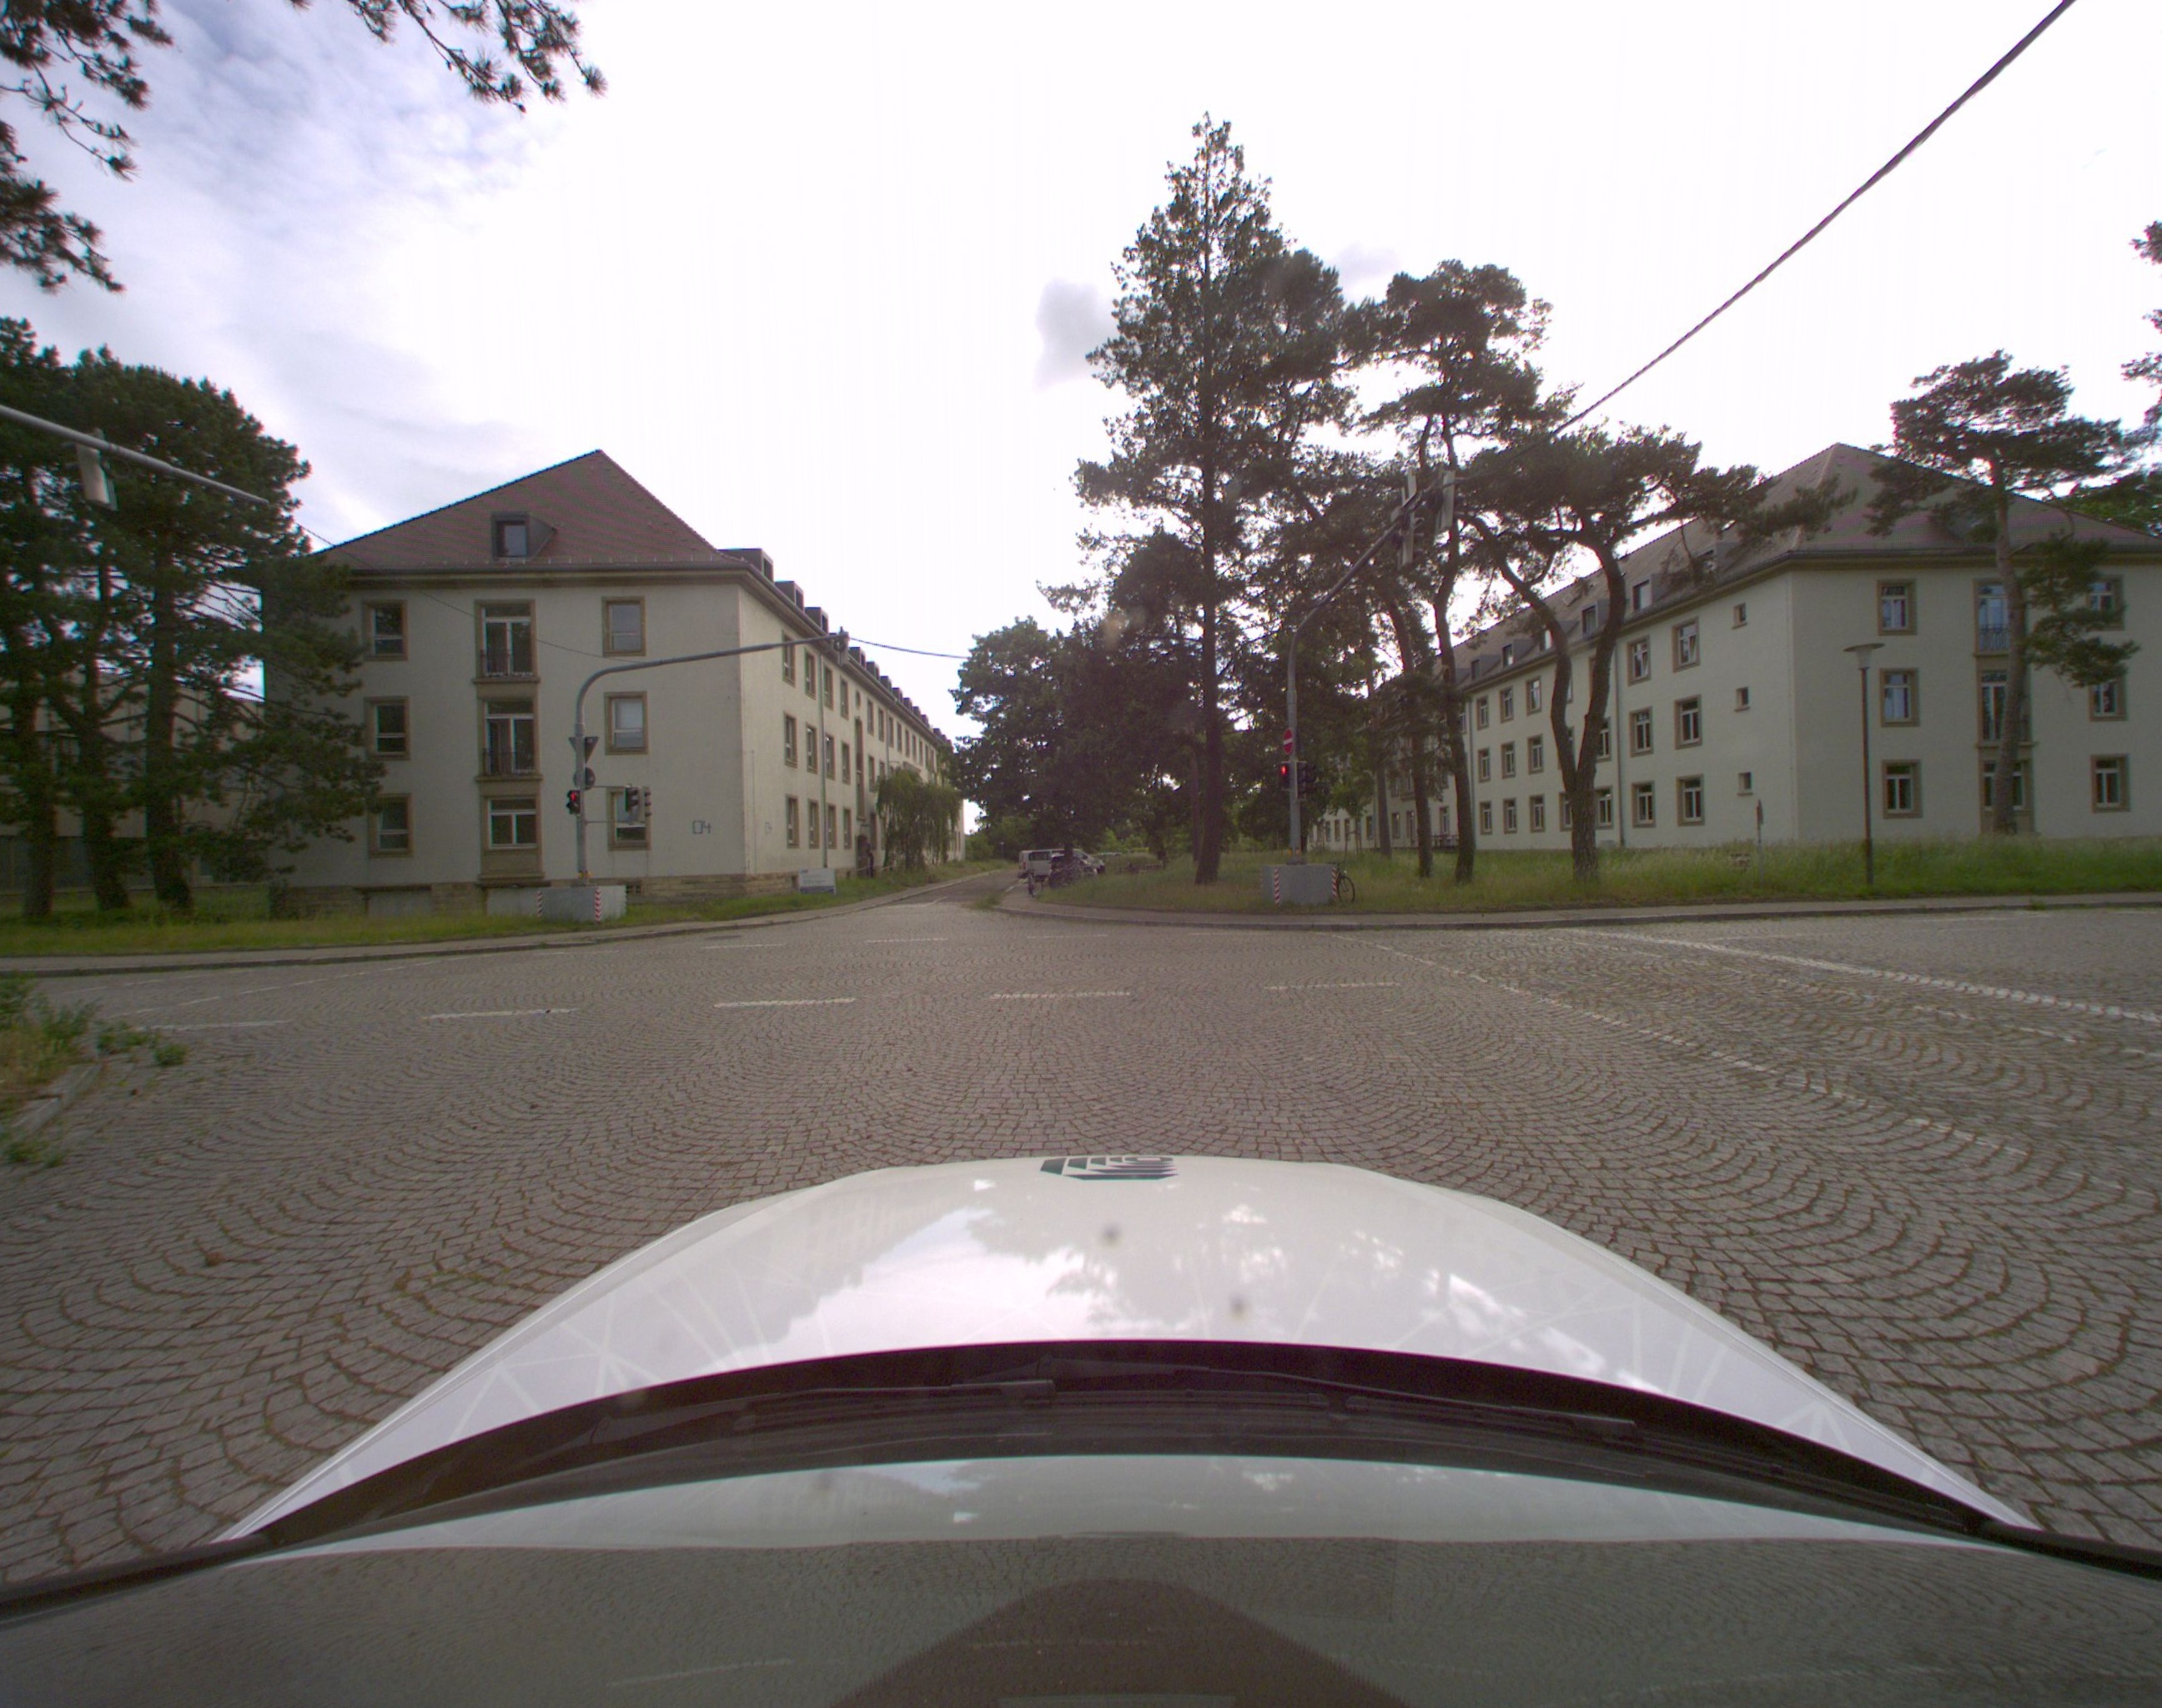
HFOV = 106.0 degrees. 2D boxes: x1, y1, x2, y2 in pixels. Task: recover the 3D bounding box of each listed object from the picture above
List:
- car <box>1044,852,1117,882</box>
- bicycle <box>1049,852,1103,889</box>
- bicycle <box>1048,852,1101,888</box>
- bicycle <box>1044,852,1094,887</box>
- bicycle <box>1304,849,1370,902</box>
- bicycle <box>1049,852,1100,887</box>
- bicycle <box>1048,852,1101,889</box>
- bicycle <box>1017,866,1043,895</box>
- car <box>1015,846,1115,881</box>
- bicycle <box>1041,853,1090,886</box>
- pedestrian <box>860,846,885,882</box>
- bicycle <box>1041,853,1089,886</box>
[{"bbox_3d":[-0.042,0.695,46.146,3.927,1.544,1.996,-2,0,-6],"label":"car"},{"bbox_3d":[-0.195,0.637,31.623,2.063,1.378,0.620,-2,0,-1],"label":"bicycle"},{"bbox_3d":[-0.267,0.645,32.916,2.063,1.378,0.620,-2,0,-1],"label":"bicycle"},{"bbox_3d":[-0.516,0.653,34.505,2.063,1.378,0.620,-2,0,-1],"label":"bicycle"},{"bbox_3d":[6.103,0.487,19.530,0.906,1.177,1.873,-2,0,-2],"label":"bicycle"},{"bbox_3d":[-0.275,0.650,33.713,2.063,1.378,0.620,-2,0,-1],"label":"bicycle"},{"bbox_3d":[-0.252,0.641,32.292,2.063,1.378,0.620,-2,0,-1],"label":"bicycle"},{"bbox_3d":[-1.845,0.957,29.779,0.615,0.963,2.080,-2,0,6],"label":"bicycle"},{"bbox_3d":[-1.002,0.573,49.489,5.699,1.910,2.220,-2,0,-14],"label":"car"},{"bbox_3d":[-0.681,0.658,35.238,2.063,1.378,0.620,-2,0,-1],"label":"bicycle"},{"bbox_3d":[-11.986,0.542,46.777,1.082,2.013,1.023,-2,0,4],"label":"pedestrian"},{"bbox_3d":[-0.681,0.664,35.985,2.063,1.378,0.620,-2,0,-1],"label":"bicycle"}]
